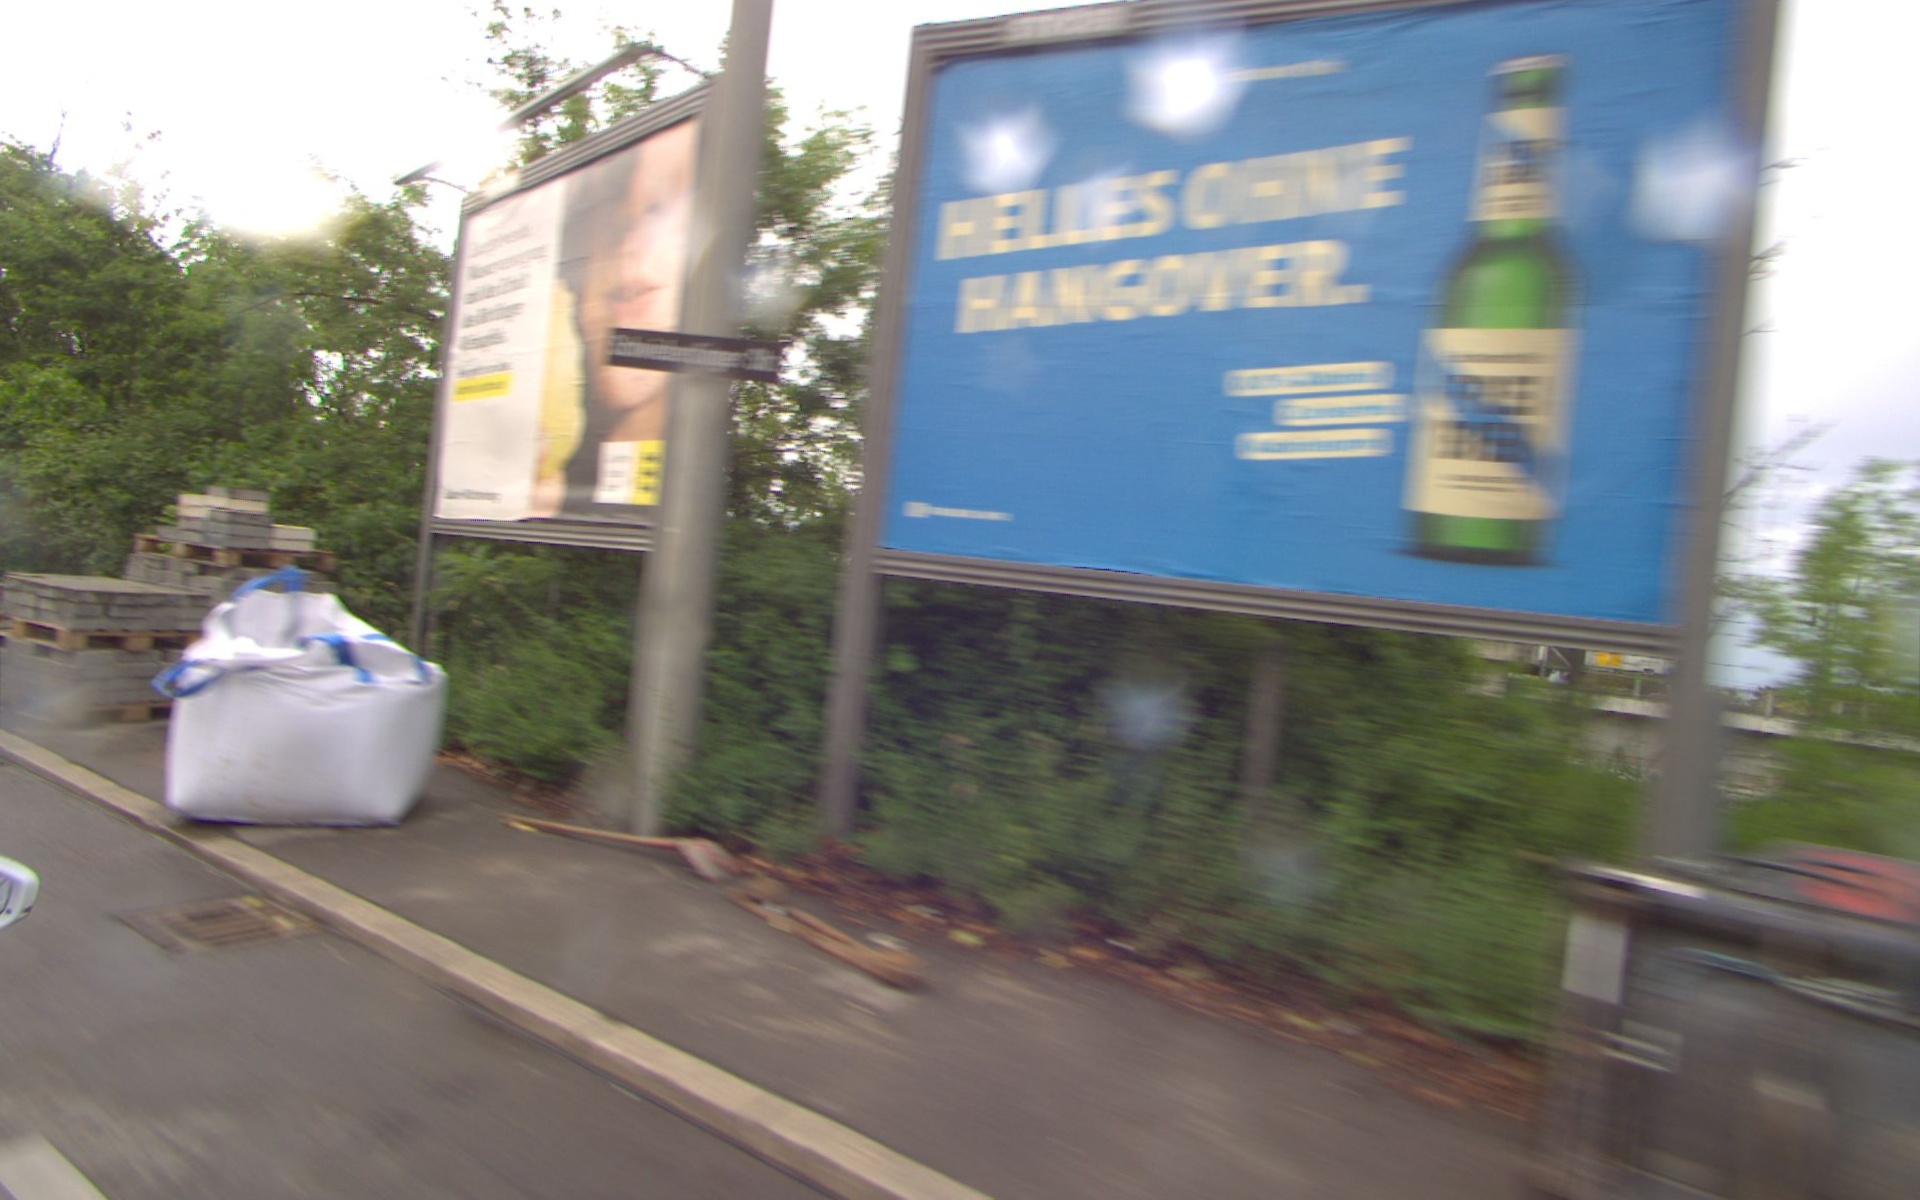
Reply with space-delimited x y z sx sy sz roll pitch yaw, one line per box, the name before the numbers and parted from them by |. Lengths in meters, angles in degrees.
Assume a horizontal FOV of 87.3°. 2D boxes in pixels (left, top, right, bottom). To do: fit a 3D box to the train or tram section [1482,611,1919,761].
train or tram section | 33.700 3.754 44.618 18.178 3.875 3.205 9 0 32
